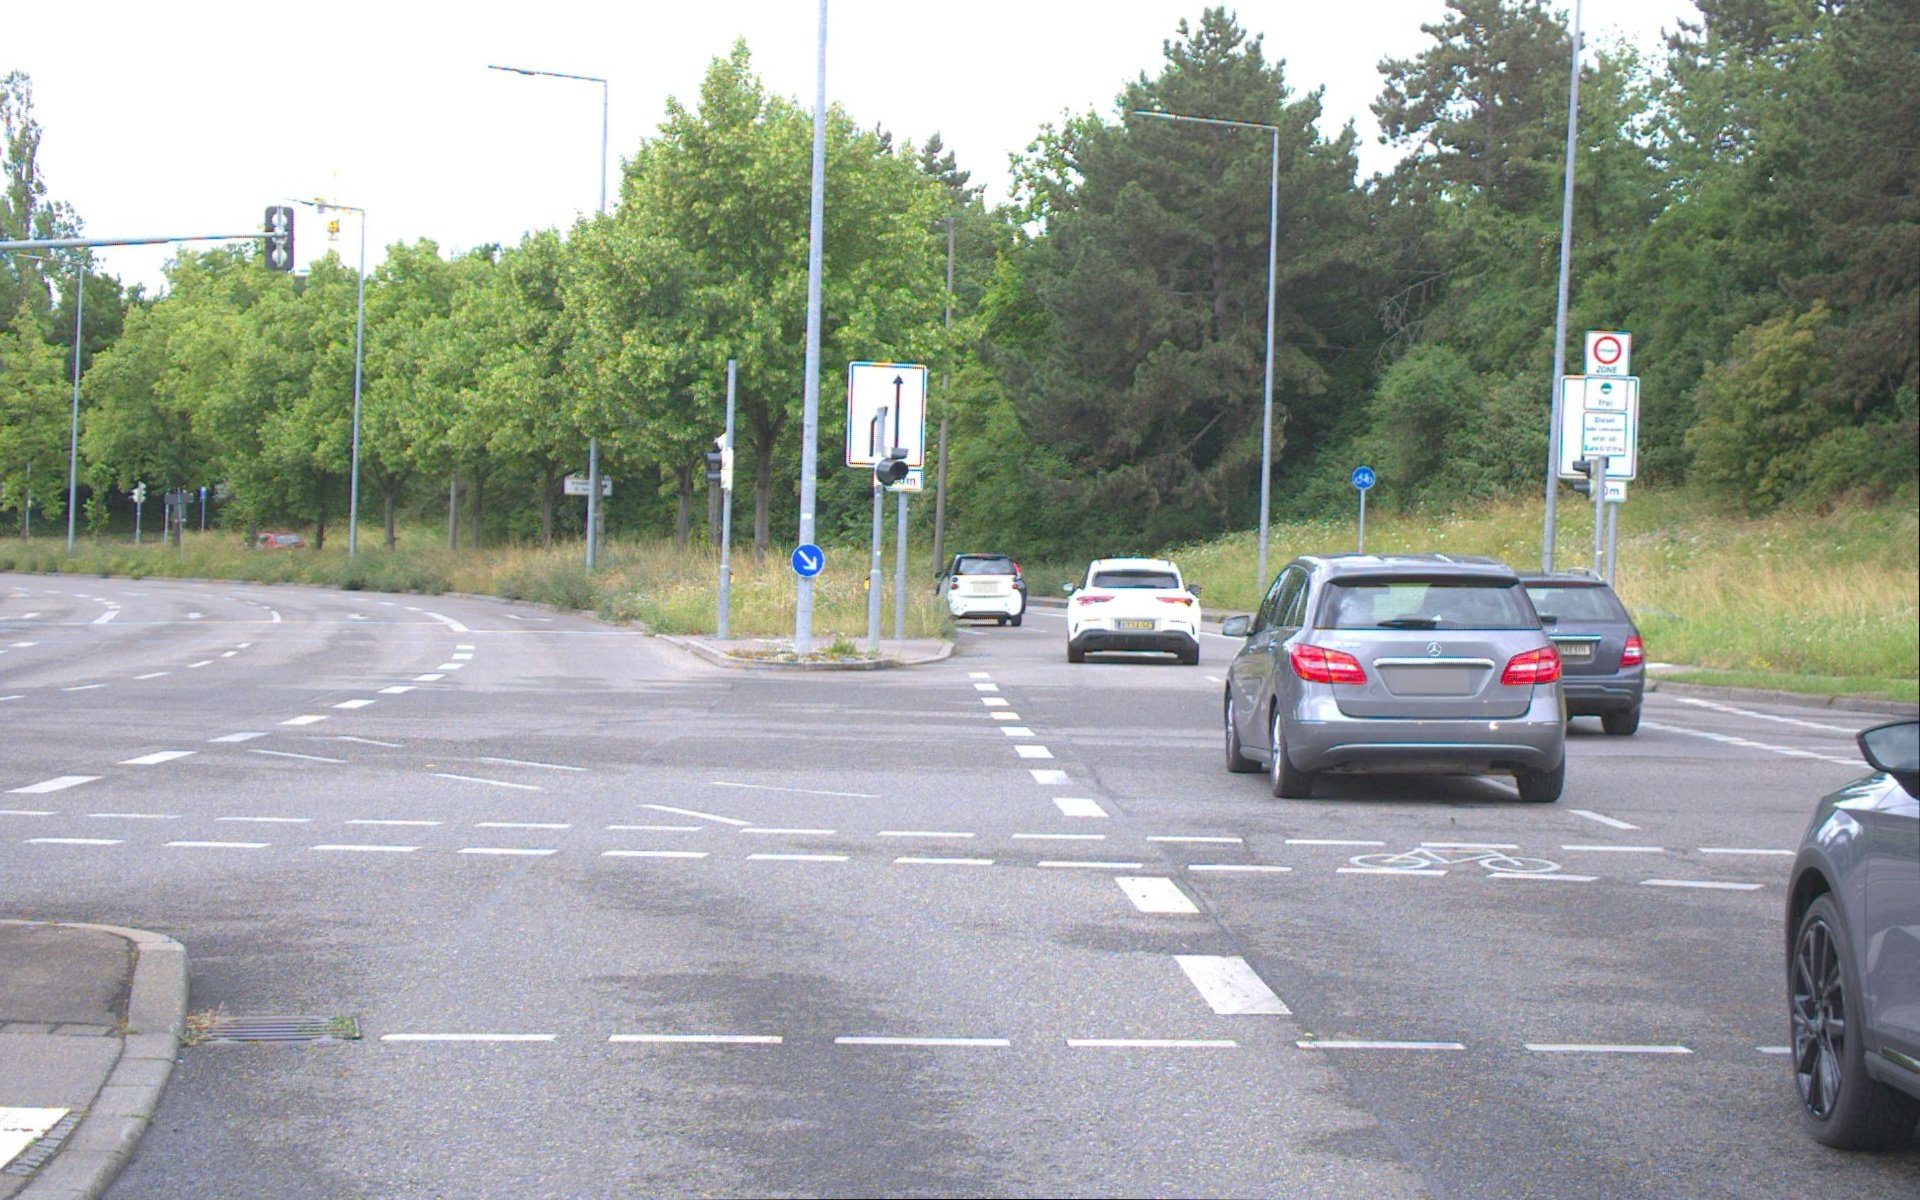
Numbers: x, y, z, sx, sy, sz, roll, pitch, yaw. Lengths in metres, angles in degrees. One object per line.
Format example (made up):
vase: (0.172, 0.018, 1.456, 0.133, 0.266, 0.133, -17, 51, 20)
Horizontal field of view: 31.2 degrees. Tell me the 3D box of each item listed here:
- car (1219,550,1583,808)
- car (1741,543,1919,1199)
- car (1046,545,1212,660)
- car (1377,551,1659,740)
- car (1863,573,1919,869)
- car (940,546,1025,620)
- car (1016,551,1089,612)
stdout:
car: (2.764, 0.438, 22.392, 1.746, 1.503, 4.048, 1, 1, -1)
car: (2.914, 0.645, 7.102, 1.624, 1.488, 3.838, 1, 1, -1)
car: (2.315, 0.012, 48.236, 1.844, 1.501, 4.531, 1, 0, -3)
car: (4.901, 0.352, 30.761, 1.746, 1.480, 4.356, 1, 2, -1)
car: (5.411, 0.617, 14.988, 1.746, 1.378, 4.291, 1, 1, -1)
car: (0.463, -0.360, 72.793, 1.592, 1.511, 2.767, 1, 0, -3)
car: (2.233, -0.456, 83.864, 1.613, 1.448, 3.882, 1, 0, 0)
